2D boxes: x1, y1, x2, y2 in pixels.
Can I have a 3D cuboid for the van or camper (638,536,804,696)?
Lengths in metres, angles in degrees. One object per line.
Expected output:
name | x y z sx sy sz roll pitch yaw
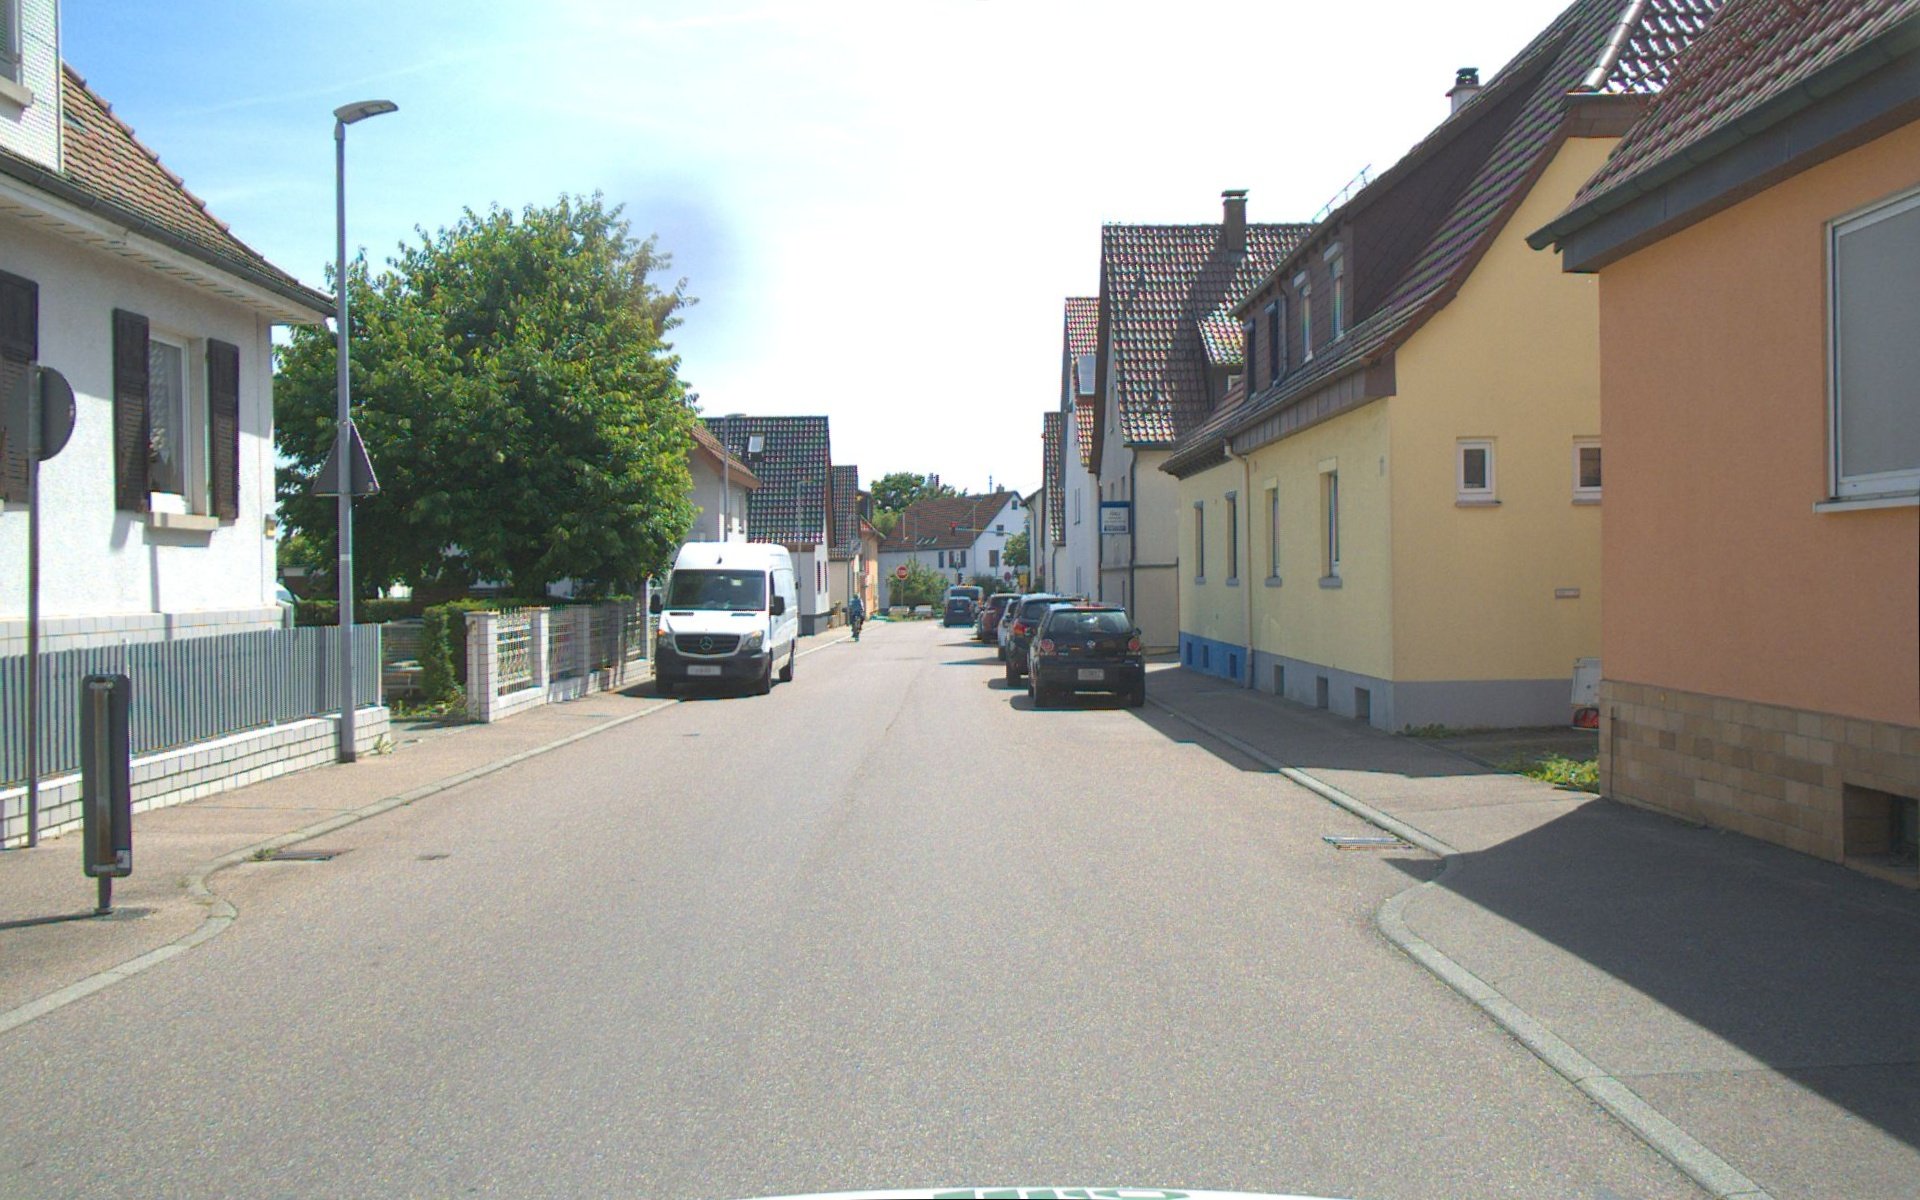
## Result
van or camper | -4.241 0.251 30.562 2.140 2.616 6.806 0 0 -1

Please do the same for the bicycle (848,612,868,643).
bicycle | -3.896 1.047 63.359 0.657 1.152 2.188 0 0 -1

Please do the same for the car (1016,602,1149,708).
car | 1.775 0.766 24.936 1.578 1.456 3.752 0 0 -2

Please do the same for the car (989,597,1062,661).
car | 1.637 0.718 42.433 1.640 1.586 3.039 0 0 -2

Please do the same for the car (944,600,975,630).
car | -0.026 0.782 88.508 1.484 1.594 3.185 0 0 3

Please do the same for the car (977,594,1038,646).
car | 1.600 0.659 57.359 1.838 1.730 4.181 0 0 -2

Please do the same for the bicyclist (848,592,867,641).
bicyclist | -3.918 0.629 63.381 0.699 1.830 0.941 0 0 -2

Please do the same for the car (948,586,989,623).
car | 0.534 0.291 102.750 2.084 2.196 4.739 -1 0 6

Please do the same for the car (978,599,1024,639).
car | 1.561 0.708 63.649 1.727 1.449 4.592 0 0 1

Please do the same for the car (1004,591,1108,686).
car | 1.703 0.664 30.494 1.693 1.628 4.253 0 0 0

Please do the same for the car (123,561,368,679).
car | -16.278 0.437 37.849 4.706 2.536 1.965 -1 0 -2

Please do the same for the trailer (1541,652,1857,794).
trailer | 5.641 0.891 12.619 2.113 0.915 1.230 0 0 -31

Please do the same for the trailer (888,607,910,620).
trailer | -4.376 0.966 118.355 1.470 0.943 1.012 1 0 1
